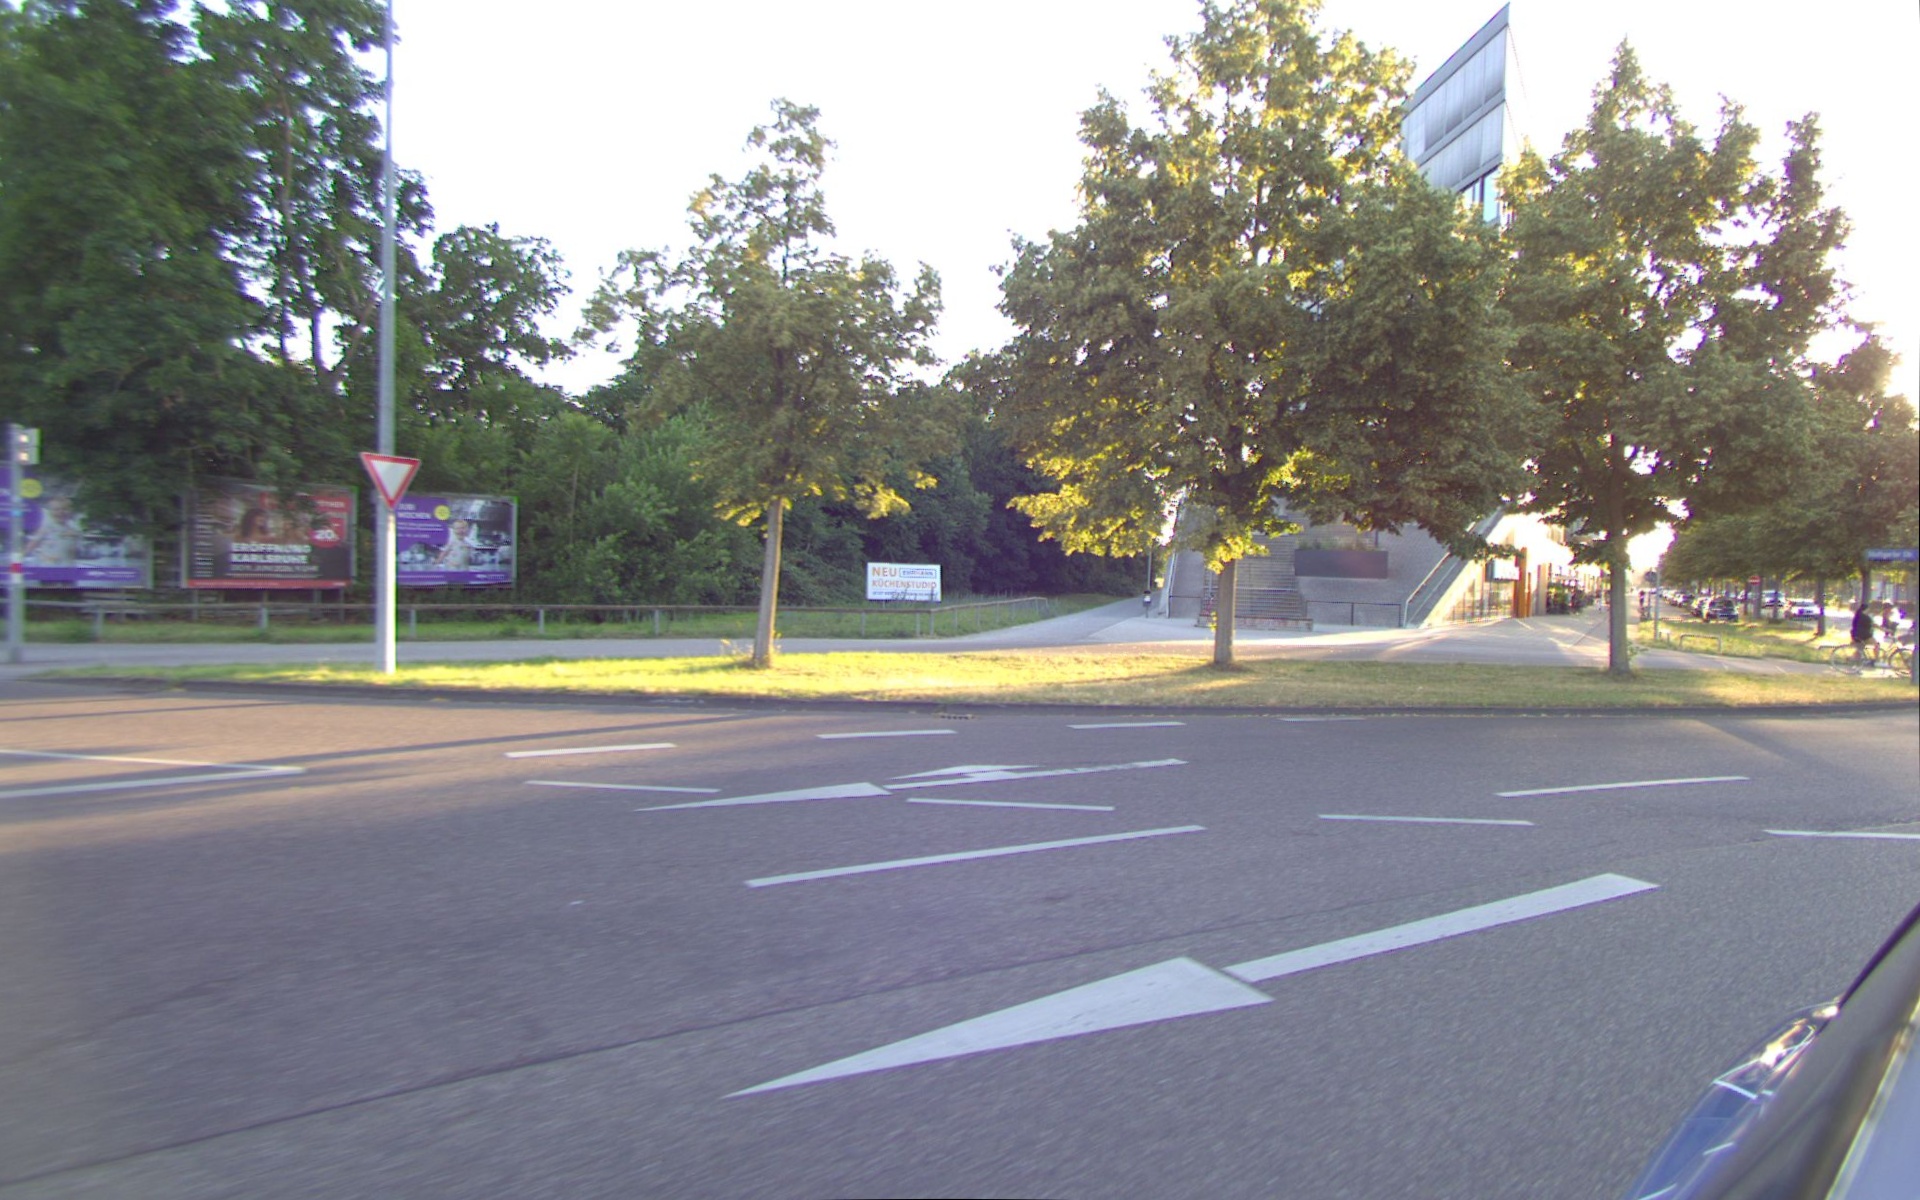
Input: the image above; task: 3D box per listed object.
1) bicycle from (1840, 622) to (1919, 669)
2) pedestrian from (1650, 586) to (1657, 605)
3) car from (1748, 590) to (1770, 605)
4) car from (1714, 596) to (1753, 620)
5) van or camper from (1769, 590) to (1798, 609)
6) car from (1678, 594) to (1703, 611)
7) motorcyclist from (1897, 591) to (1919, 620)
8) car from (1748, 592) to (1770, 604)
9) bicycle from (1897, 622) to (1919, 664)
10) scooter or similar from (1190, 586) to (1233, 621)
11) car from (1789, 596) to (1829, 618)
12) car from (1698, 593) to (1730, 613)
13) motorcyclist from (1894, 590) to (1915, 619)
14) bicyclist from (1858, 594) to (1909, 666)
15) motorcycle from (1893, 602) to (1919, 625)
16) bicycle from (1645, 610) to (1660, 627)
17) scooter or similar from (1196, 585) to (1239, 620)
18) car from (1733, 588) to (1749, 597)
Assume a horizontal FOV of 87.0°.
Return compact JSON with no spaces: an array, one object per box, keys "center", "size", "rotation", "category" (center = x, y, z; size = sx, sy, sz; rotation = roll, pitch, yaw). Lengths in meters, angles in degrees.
[{"center":[22.382,1.088,24.299],"size":[1.844,1.035,0.305],"rotation":[2,1,26],"category":"bicycle"},{"center":[74.393,-0.488,108.535],"size":[0.535,2.039,0.521],"rotation":[2,1,34],"category":"pedestrian"},{"center":[107.448,-0.332,136.158],"size":[1.706,1.860,3.956],"rotation":[2,1,31],"category":"car"},{"center":[51.627,0.516,67.631],"size":[1.791,1.482,3.951],"rotation":[2,2,34],"category":"car"},{"center":[94.299,-0.071,115.876],"size":[1.986,1.981,5.265],"rotation":[2,2,33],"category":"van or camper"},{"center":[68.526,0.201,94.972],"size":[1.791,1.482,3.951],"rotation":[2,2,34],"category":"car"},{"center":[48.180,0.276,51.437],"size":[0.631,1.433,0.706],"rotation":[2,2,33],"category":"motorcyclist"},{"center":[114.771,-0.363,145.380],"size":[1.880,1.642,3.955],"rotation":[2,1,31],"category":"car"},{"center":[24.583,1.113,25.164],"size":[1.857,1.035,0.431],"rotation":[3,1,43],"category":"bicycle"},{"center":[9.320,0.124,37.532],"size":[0.360,1.235,1.573],"rotation":[1,1,-45],"category":"scooter or similar"},{"center":[64.206,0.534,76.586],"size":[1.880,1.499,4.002],"rotation":[2,2,34],"category":"car"},{"center":[59.996,0.216,80.584],"size":[1.791,1.482,3.951],"rotation":[2,2,34],"category":"car"},{"center":[48.523,0.228,51.991],"size":[0.632,1.426,0.587],"rotation":[2,2,33],"category":"motorcyclist"},{"center":[22.298,0.710,24.447],"size":[0.677,1.668,0.678],"rotation":[2,1,25],"category":"bicyclist"},{"center":[48.318,0.692,51.686],"size":[0.554,1.114,2.134],"rotation":[2,1,33],"category":"motorcycle"},{"center":[37.622,0.975,54.963],"size":[0.547,0.862,2.610],"rotation":[2,1,36],"category":"bicycle"},{"center":[9.602,0.088,37.839],"size":[0.360,1.235,1.573],"rotation":[1,1,-45],"category":"scooter or similar"},{"center":[127.792,-1.193,165.670],"size":[1.791,1.482,3.951],"rotation":[2,2,34],"category":"car"}]
